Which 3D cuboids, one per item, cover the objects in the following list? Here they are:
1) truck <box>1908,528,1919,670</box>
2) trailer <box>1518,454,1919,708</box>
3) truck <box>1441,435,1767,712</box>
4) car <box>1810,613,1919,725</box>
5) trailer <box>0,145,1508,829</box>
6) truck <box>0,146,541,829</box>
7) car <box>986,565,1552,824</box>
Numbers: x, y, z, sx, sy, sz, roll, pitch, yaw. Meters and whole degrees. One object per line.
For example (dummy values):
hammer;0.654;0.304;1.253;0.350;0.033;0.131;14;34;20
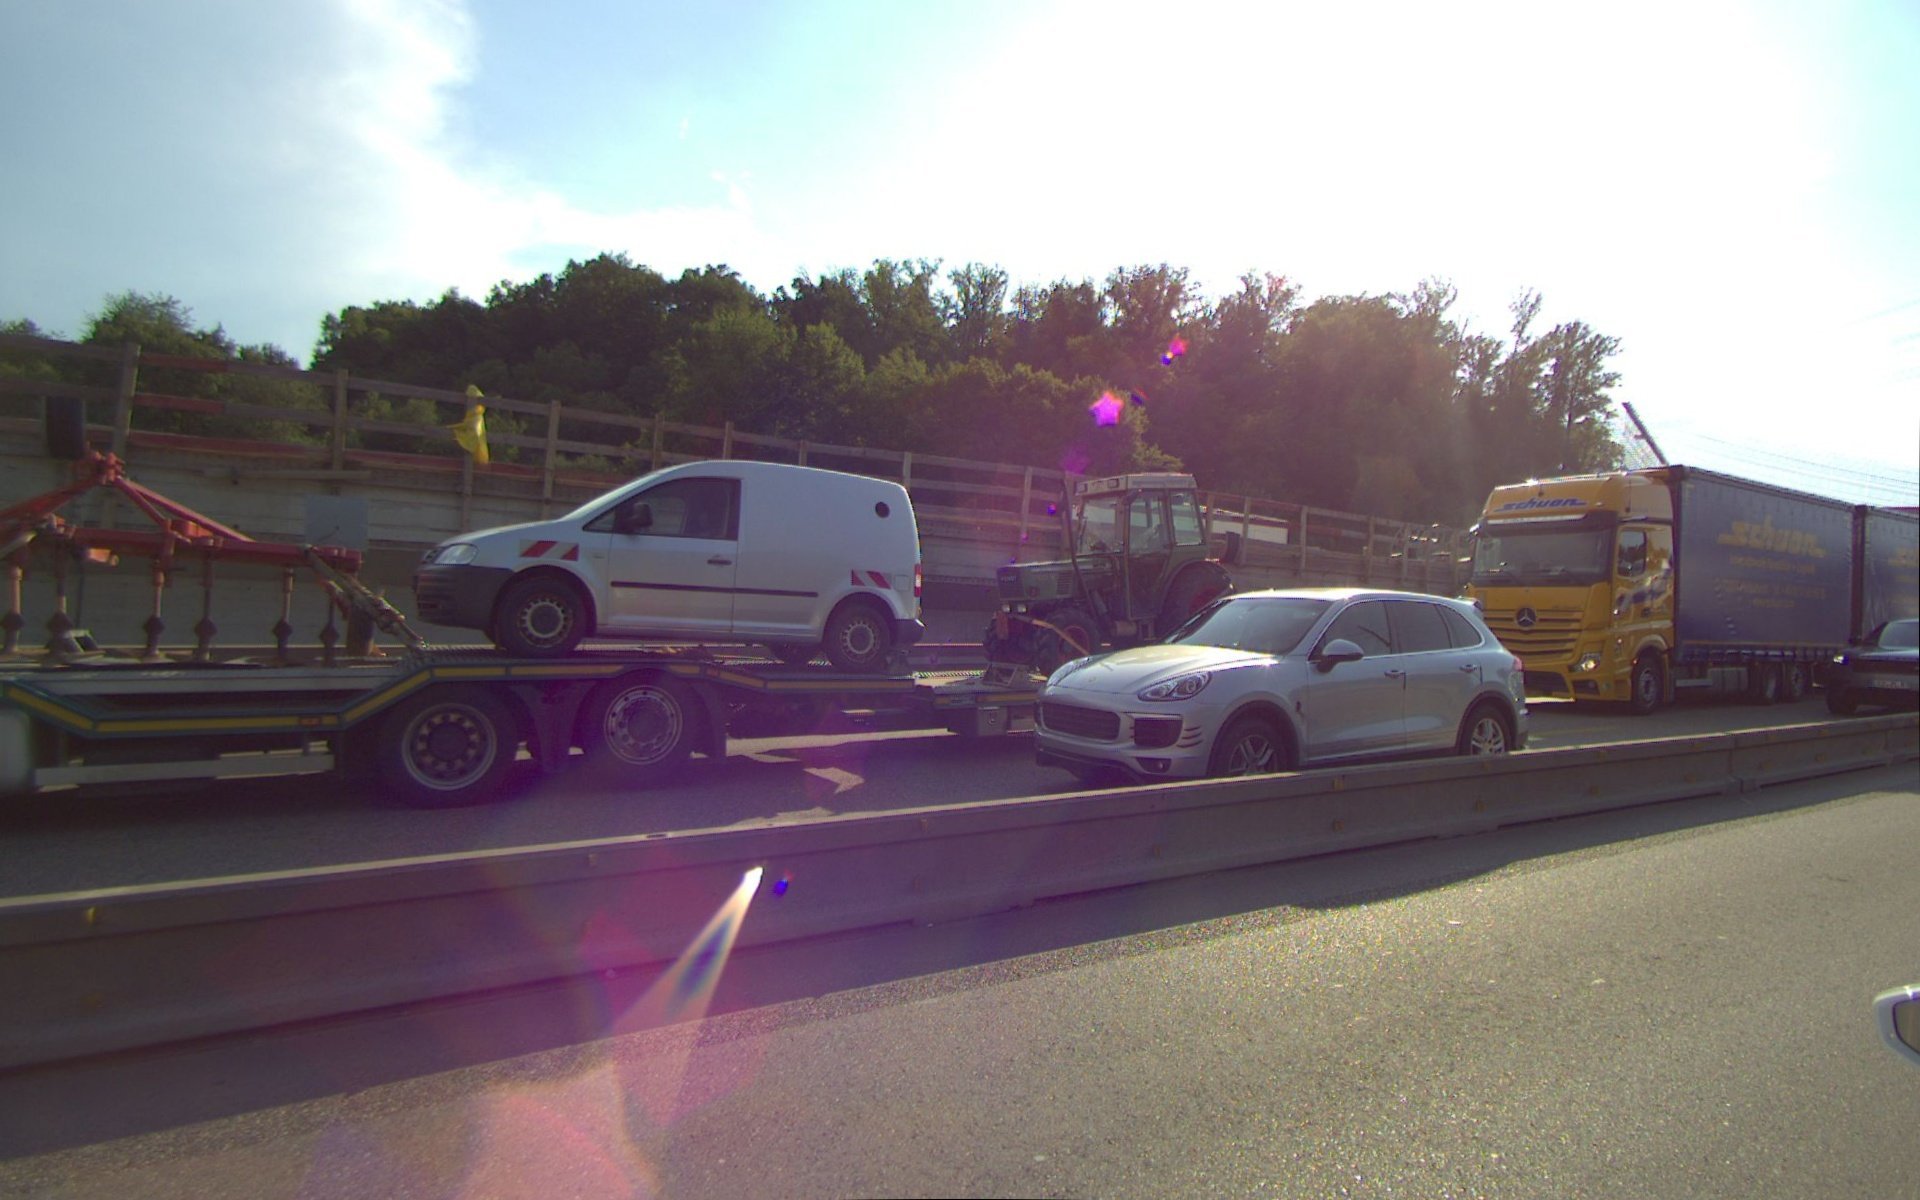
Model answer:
truck;30.991;0.044;30.229;4.352;4.252;2.677;2;-1;-34
trailer;18.168;0.006;22.111;16.569;4.189;2.700;3;-1;-32
truck;11.523;-0.286;17.866;5.731;4.195;2.686;2;-1;-32
car;16.655;1.172;17.175;4.640;1.724;1.916;3;-1;-32
trailer;-0.226;-0.418;10.390;15.862;3.866;2.735;2;-2;-31
truck;-6.710;-0.636;6.494;7.030;3.855;2.735;2;-2;-31
car;2.764;0.700;8.568;4.795;1.666;1.949;3;-1;-32
